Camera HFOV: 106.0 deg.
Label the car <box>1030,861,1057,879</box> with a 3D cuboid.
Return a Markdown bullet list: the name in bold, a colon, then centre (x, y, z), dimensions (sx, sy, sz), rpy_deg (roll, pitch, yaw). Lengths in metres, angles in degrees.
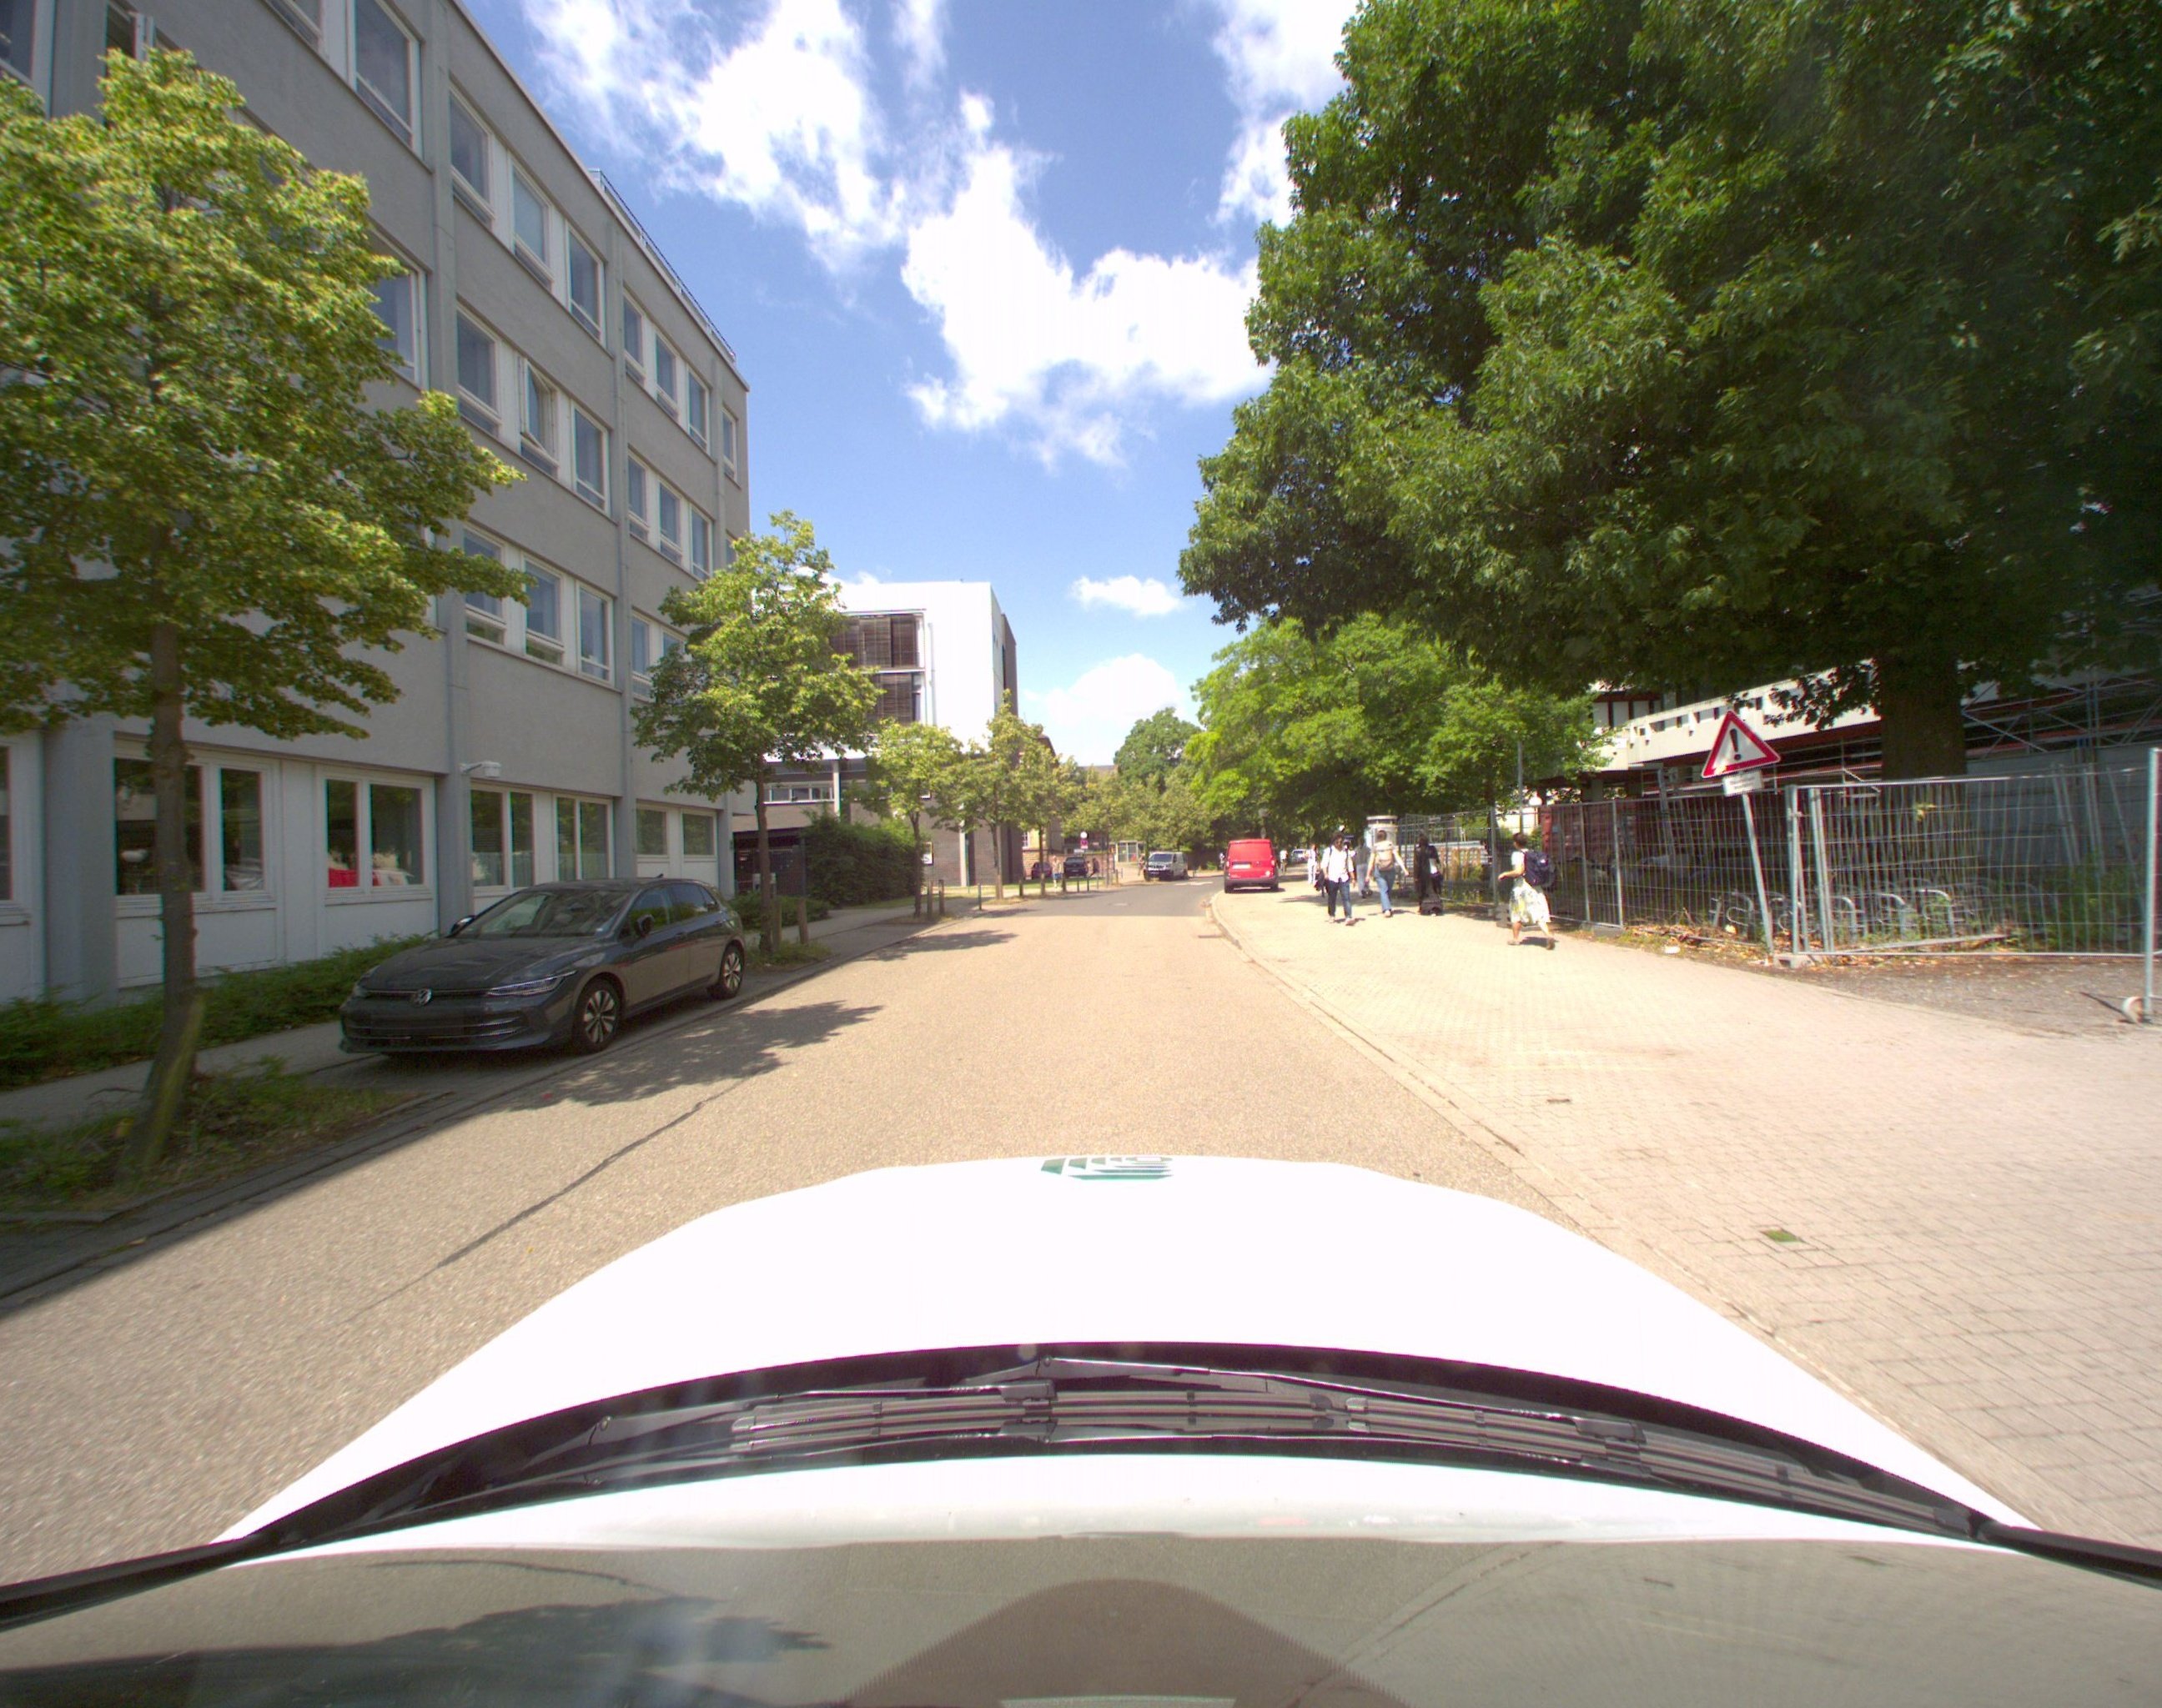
- **car**: centre (-2.931, 1.251, 64.010), dimensions (1.811, 1.324, 3.768), rpy_deg (-2, -1, 0)

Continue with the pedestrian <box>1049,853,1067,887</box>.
- **pedestrian**: centre (-1.224, 0.844, 42.886), dimensions (0.579, 1.764, 0.916), rpy_deg (-2, -1, 19)

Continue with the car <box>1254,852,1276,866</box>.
- **car**: centre (19.724, 0.546, 87.277), dimensions (1.601, 1.388, 4.022), rpy_deg (-2, -1, 22)

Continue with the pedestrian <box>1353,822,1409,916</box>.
- **pedestrian**: centre (5.882, 0.296, 16.013), dimensions (0.844, 1.764, 0.718), rpy_deg (-3, -1, 11)

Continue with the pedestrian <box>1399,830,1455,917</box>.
- **pedestrian**: centre (6.680, 0.363, 15.758), dimensions (0.665, 1.600, 0.987), rpy_deg (-3, -1, 6)

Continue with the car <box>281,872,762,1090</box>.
- **car**: centre (-4.872, 0.963, 8.007), dimensions (1.772, 1.461, 4.258), rpy_deg (-1, 0, 0)

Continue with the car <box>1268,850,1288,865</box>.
- **car**: centre (23.102, 0.405, 95.332), dimensions (1.601, 1.679, 4.022), rpy_deg (-2, -1, 22)

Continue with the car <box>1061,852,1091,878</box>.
- **car**: centre (-0.370, 0.862, 64.008), dimensions (2.168, 1.926, 5.184), rpy_deg (-2, -1, -1)

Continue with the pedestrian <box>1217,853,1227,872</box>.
- **pedestrian**: centre (12.591, 0.722, 72.574), dimensions (0.627, 1.663, 0.600), rpy_deg (-2, -1, -13)

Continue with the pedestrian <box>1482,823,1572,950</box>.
- **pedestrian**: centre (6.162, 0.436, 11.297), dimensions (0.648, 1.666, 0.903), rpy_deg (-3, -1, -3)

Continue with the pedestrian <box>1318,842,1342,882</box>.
- **pedestrian**: centre (10.741, 0.335, 35.120), dimensions (0.748, 1.710, 0.558), rpy_deg (-2, -1, -35)

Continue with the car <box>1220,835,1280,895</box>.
- **car**: centre (5.987, 0.353, 28.979), dimensions (1.836, 1.891, 4.906), rpy_deg (-3, 0, 11)

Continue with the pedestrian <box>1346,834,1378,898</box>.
- **pedestrian**: centre (7.345, 0.308, 21.310), dimensions (0.707, 1.631, 0.715), rpy_deg (-2, -1, 18)

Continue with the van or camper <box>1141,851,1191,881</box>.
- **van or camper**: centre (5.890, 0.767, 55.647), dimensions (1.936, 1.923, 5.449), rpy_deg (-1, 0, 21)

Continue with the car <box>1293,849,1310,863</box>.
- **car**: centre (29.612, 0.253, 109.302), dimensions (1.601, 1.816, 4.022), rpy_deg (-2, -1, 22)

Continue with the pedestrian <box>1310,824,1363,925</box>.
- **pedestrian**: centre (4.684, 0.374, 14.971), dimensions (0.692, 1.781, 0.787), rpy_deg (-3, -1, 3)

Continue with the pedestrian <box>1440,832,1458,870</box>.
- **pedestrian**: centre (18.624, -0.148, 41.213), dimensions (0.540, 1.837, 0.763), rpy_deg (-2, -1, 7)

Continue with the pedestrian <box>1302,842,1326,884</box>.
- **pedestrian**: centre (10.286, 0.397, 35.991), dimensions (0.726, 1.822, 0.623), rpy_deg (-2, -1, -34)
